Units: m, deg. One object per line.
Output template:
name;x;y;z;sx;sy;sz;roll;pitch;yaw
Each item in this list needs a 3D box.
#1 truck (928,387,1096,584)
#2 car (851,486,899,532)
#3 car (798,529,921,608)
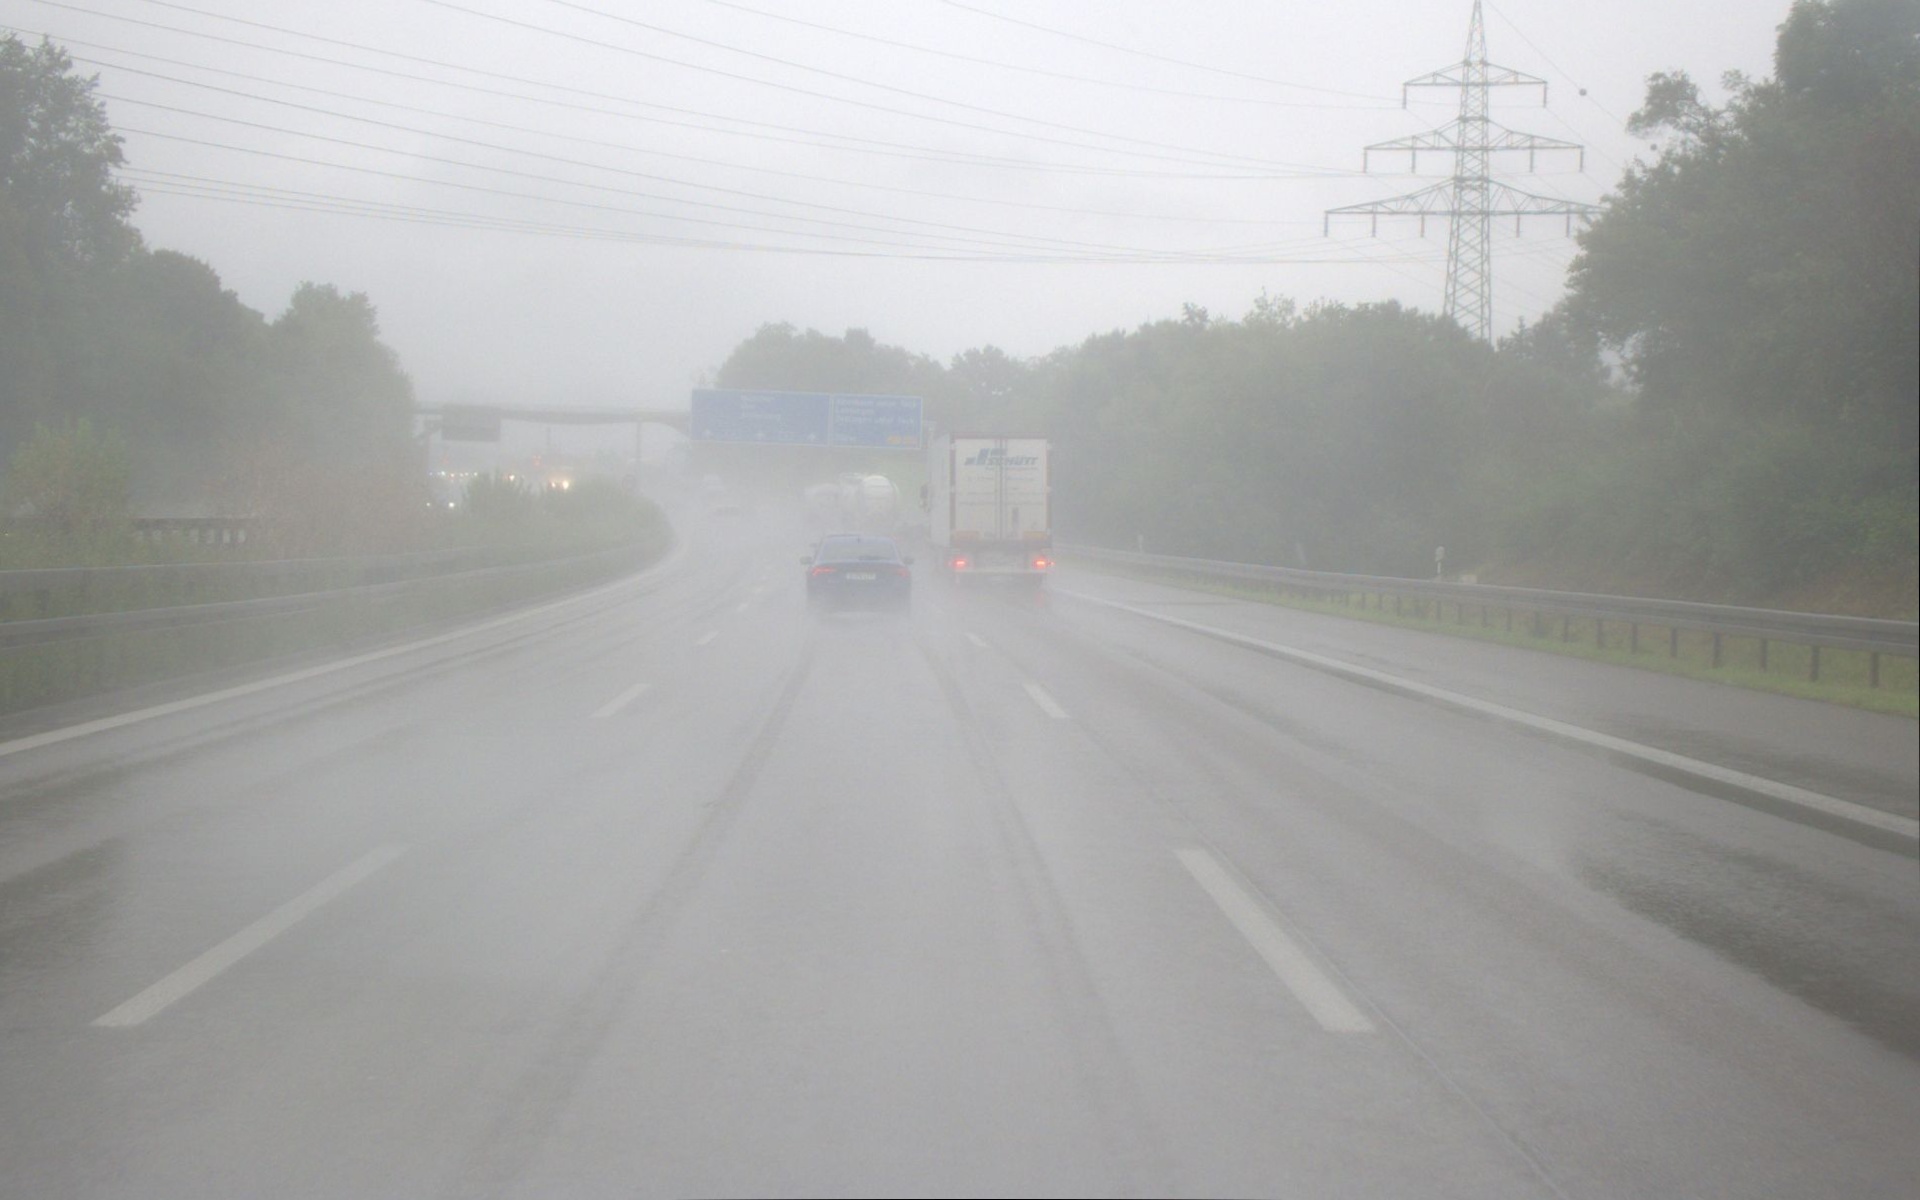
truck;1.442;-3.112;95.739;4.256;4.955;17.341;0;1;1
car;-4.412;-4.727;178.926;2.393;2.264;5.003;2;2;-1
car;-1.684;-0.565;58.851;1.749;1.208;4.000;3;1;2
